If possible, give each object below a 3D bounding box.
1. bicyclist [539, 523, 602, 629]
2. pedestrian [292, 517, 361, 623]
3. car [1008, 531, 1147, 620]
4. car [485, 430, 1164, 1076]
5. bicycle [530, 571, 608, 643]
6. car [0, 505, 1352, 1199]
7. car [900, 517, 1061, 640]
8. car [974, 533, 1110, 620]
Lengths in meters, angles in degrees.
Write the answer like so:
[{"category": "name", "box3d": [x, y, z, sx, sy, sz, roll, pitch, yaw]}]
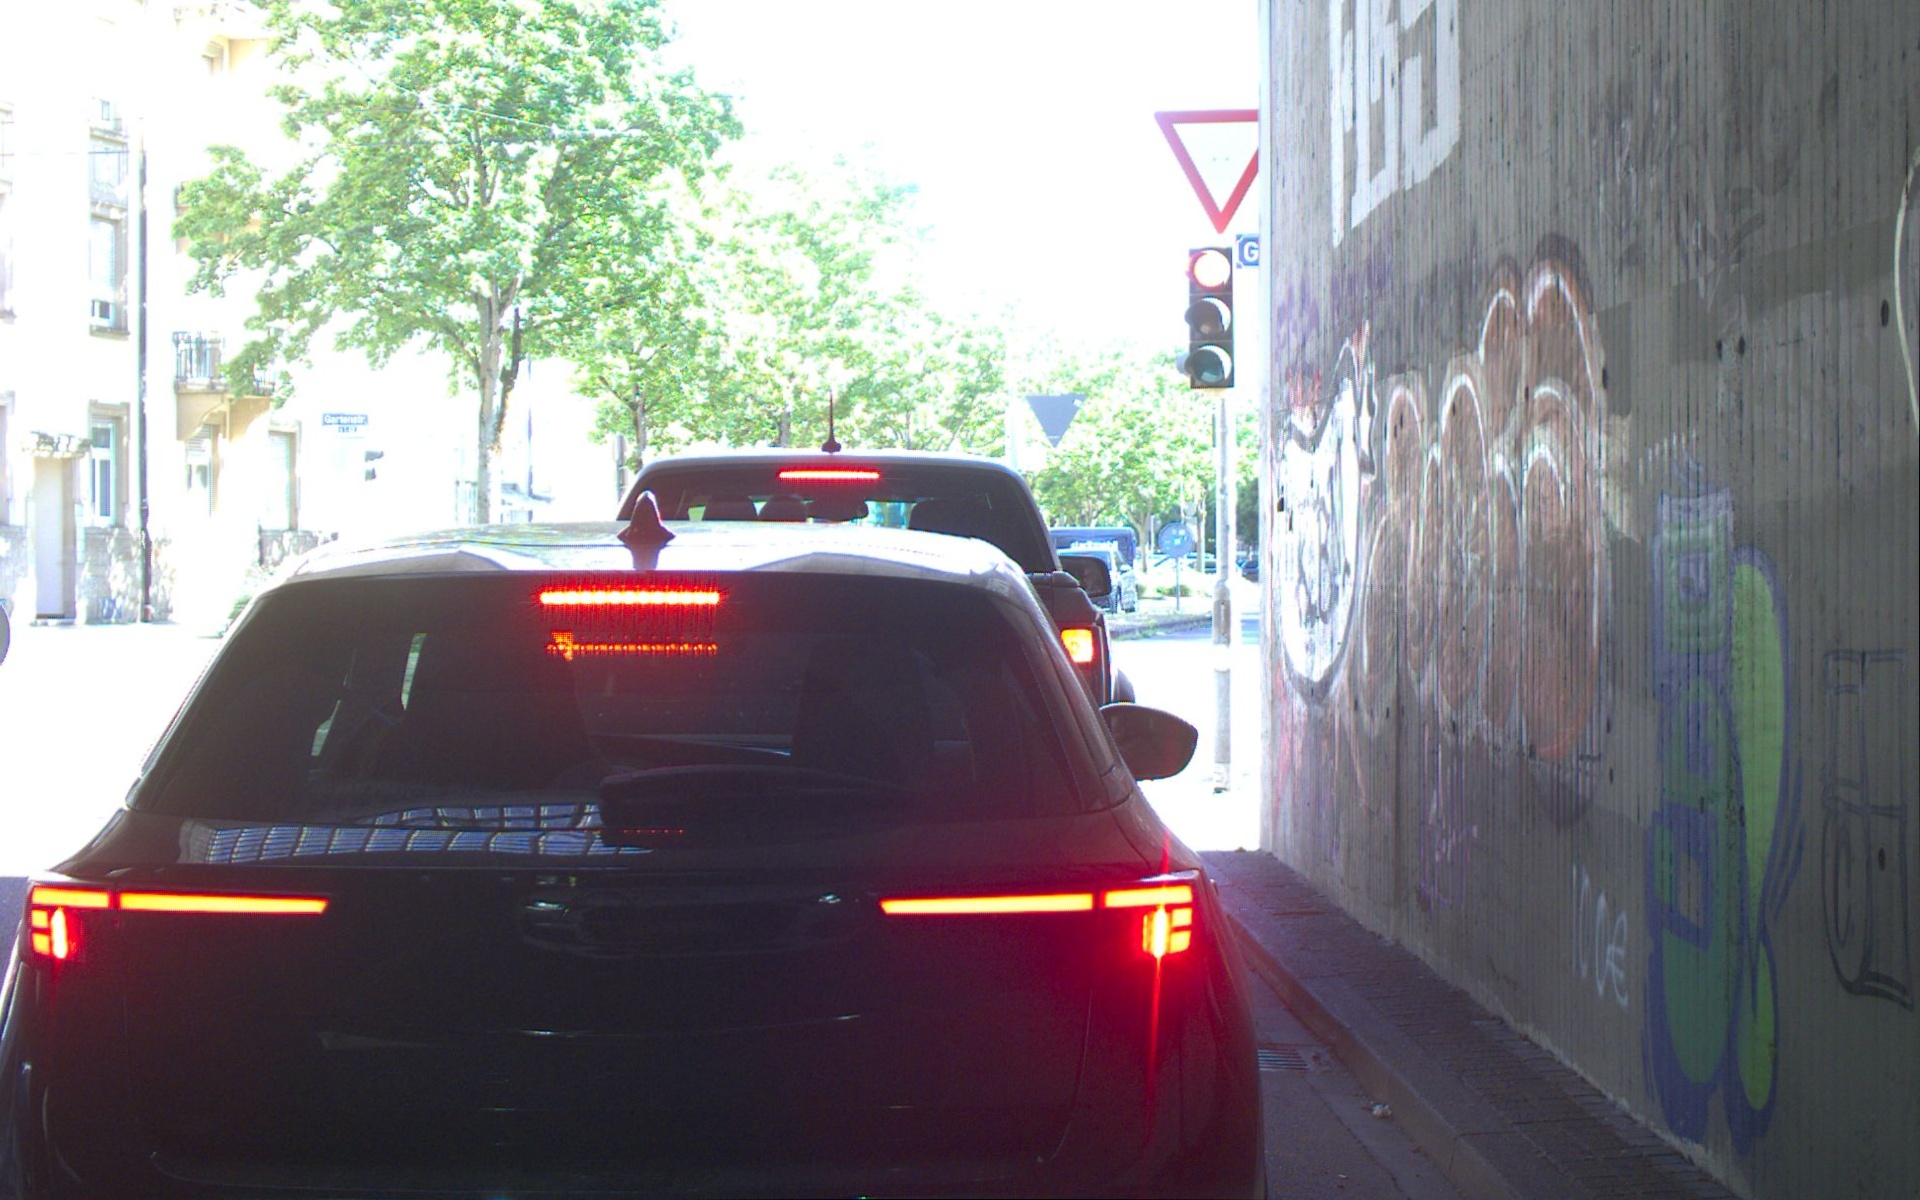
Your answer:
[{"category": "bicyclist", "box3d": [-5.834, -0.359, 51.571, 0.729, 1.576, 0.814, 1, 0, 9]}, {"category": "pedestrian", "box3d": [-12.160, -0.585, 66.008, 0.992, 2.007, 1.088, 0, 1, 8]}, {"category": "car", "box3d": [2.400, -0.459, 69.034, 2.221, 1.713, 4.458, 0, -1, 10]}, {"category": "car", "box3d": [-0.413, 0.405, 11.921, 1.945, 1.853, 3.964, -1, 1, -1]}, {"category": "bicycle", "box3d": [-5.851, 0.097, 51.546, 0.732, 1.064, 1.688, 1, 1, 9]}, {"category": "car", "box3d": [-0.493, 0.623, 6.100, 1.882, 1.532, 3.964, -1, 1, -1]}, {"category": "car", "box3d": [0.302, -0.246, 44.203, 1.968, 1.492, 3.896, 0, -1, 1]}, {"category": "car", "box3d": [1.513, -0.401, 62.224, 1.969, 1.492, 3.895, 0, -1, 9]}]
